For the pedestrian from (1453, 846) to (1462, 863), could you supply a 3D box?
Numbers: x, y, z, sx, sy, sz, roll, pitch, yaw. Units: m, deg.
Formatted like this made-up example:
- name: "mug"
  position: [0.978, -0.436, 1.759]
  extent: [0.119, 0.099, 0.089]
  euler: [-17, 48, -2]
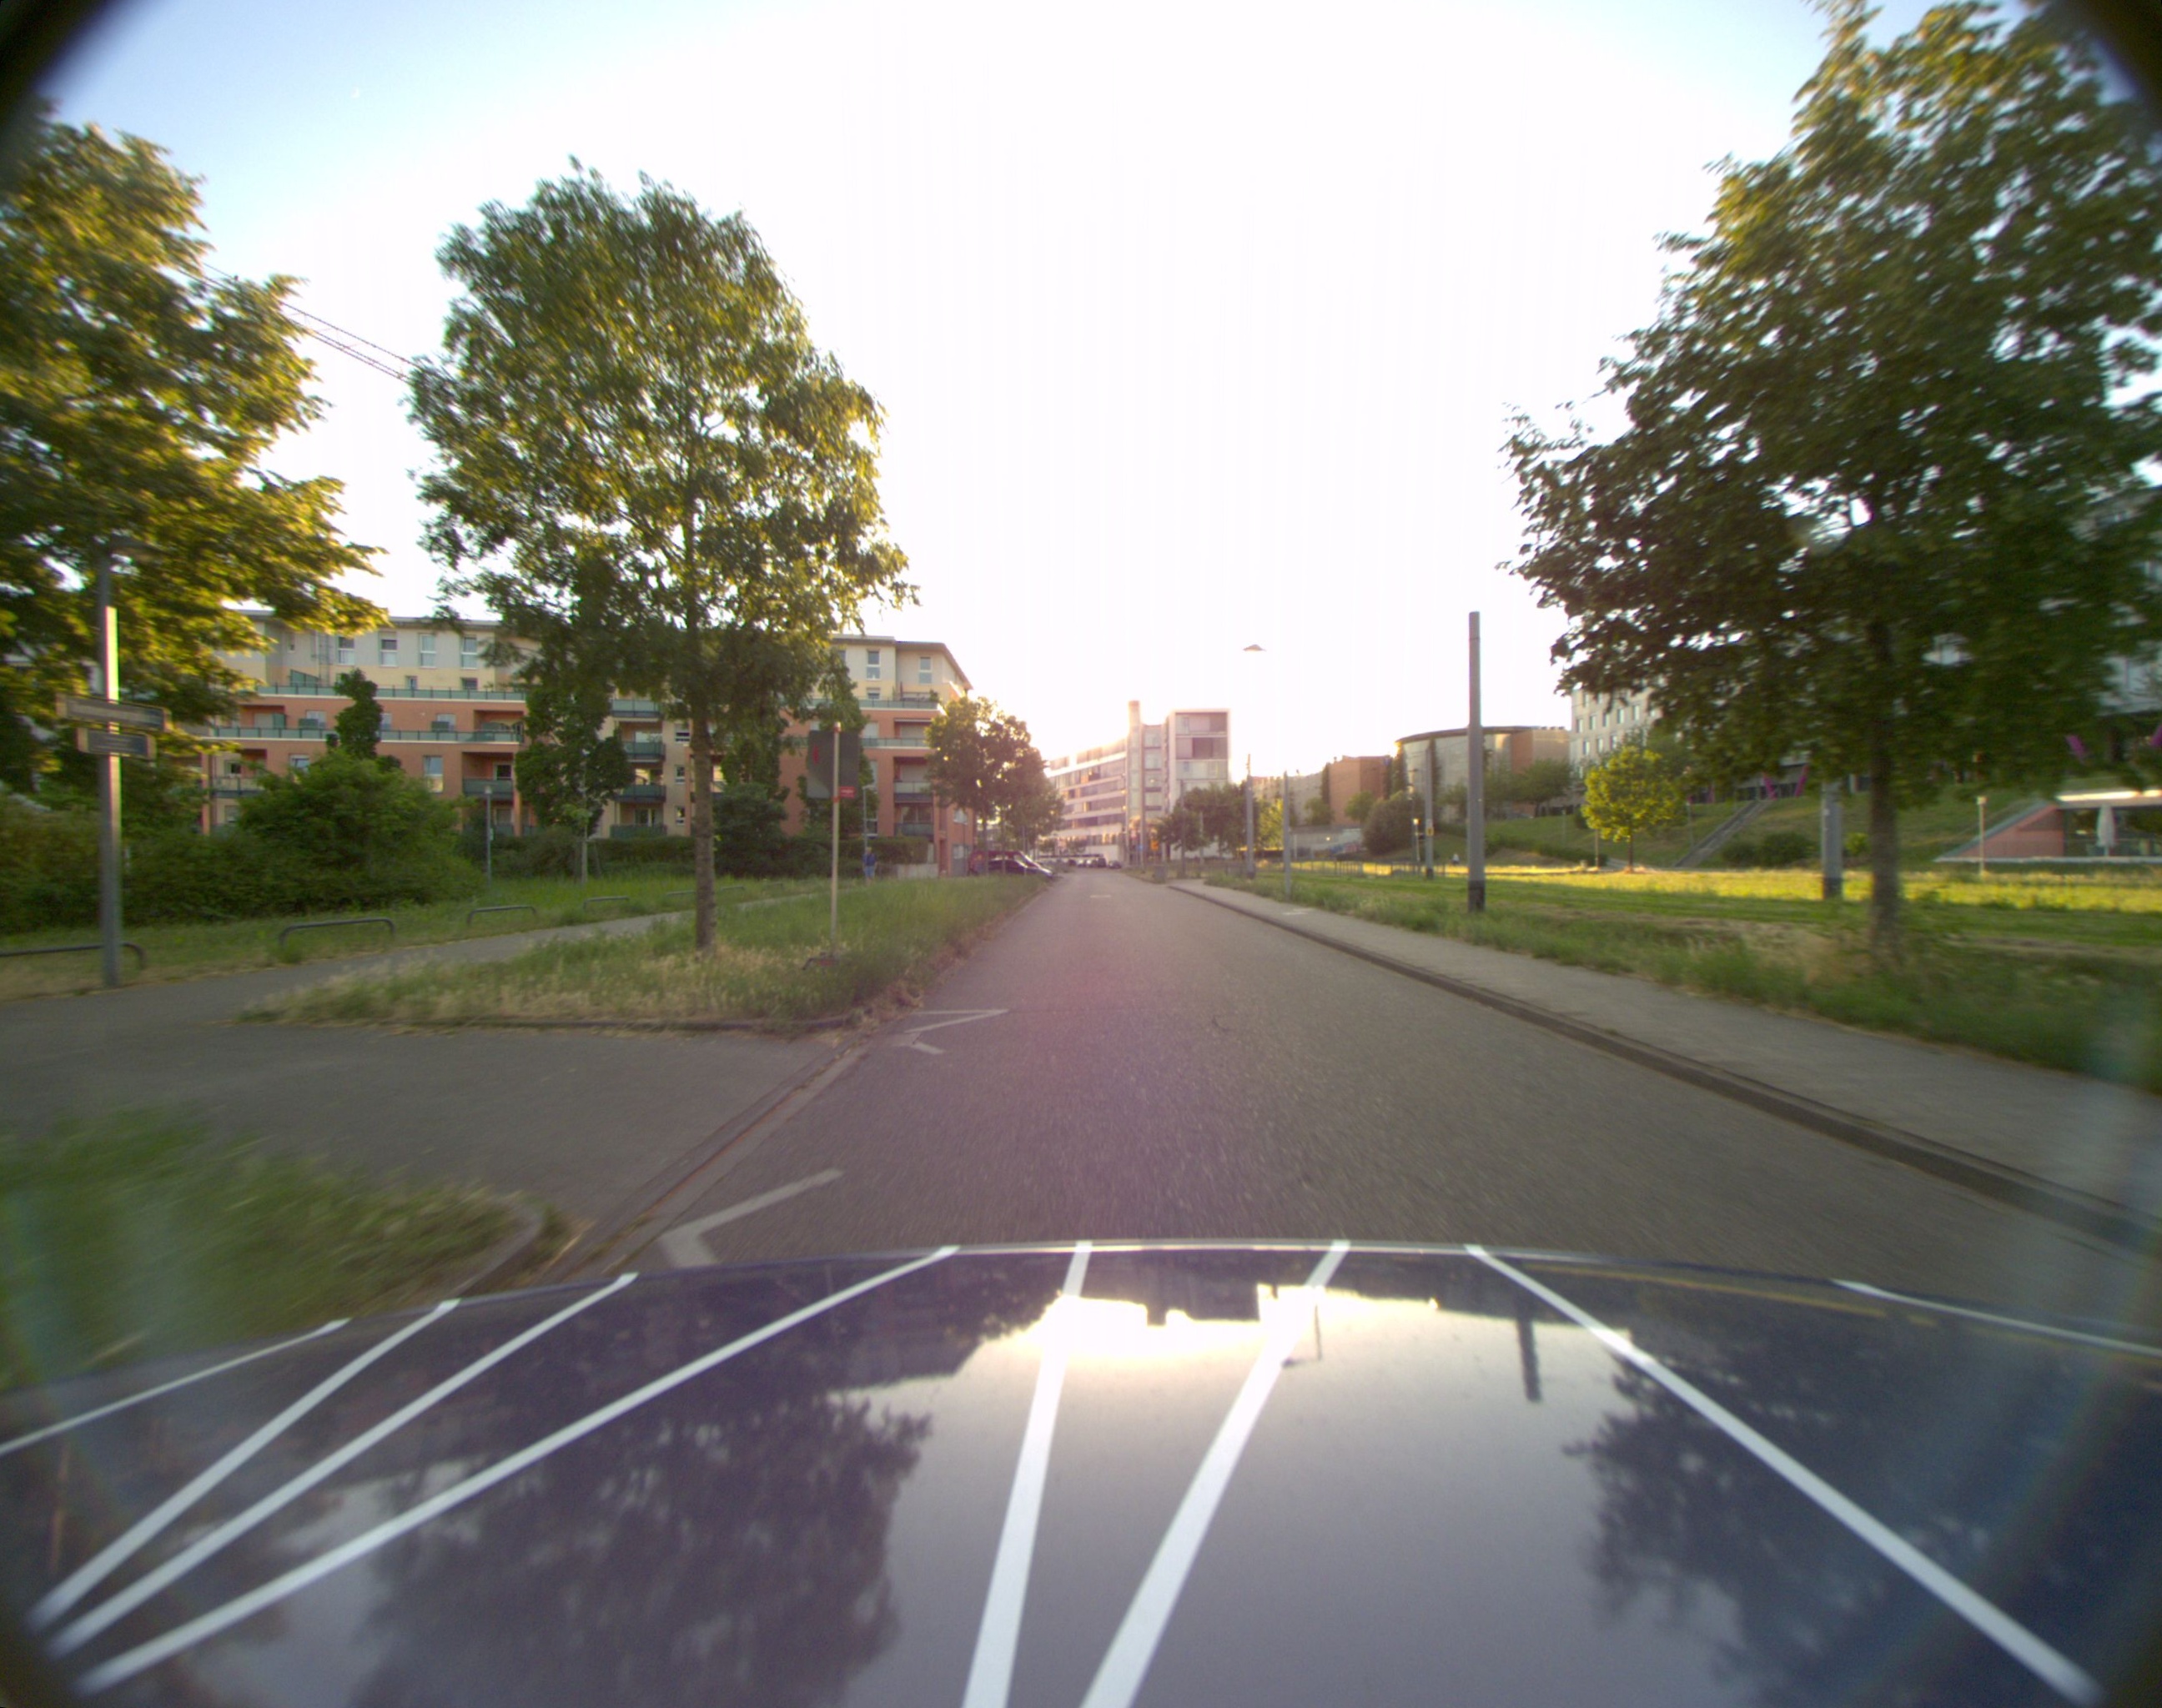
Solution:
- name: "pedestrian"
  position: [43.188, 0.068, 87.179]
  extent: [0.618, 1.826, 0.790]
  euler: [-3, 1, -1]

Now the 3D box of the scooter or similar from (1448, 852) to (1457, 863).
- name: "scooter or similar"
  position: [43.238, 0.412, 88.333]
  extent: [0.618, 1.236, 0.790]
  euler: [-3, 0, -1]

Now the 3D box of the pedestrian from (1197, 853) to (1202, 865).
- name: "pedestrian"
  position: [17.542, 0.757, 112.820]
  extent: [0.450, 1.826, 0.483]
  euler: [-3, 1, -20]

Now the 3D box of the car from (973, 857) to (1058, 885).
- name: "car"
  position: [-3.753, 0.966, 44.075]
  extent: [4.680, 1.547, 1.811]
  euler: [-1, 0, 1]

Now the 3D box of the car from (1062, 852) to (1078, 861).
- name: "car"
  position: [-2.244, 0.482, 153.841]
  extent: [1.799, 1.676, 3.993]
  euler: [-1, 0, -21]

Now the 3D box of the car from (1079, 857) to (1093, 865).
- name: "car"
  position: [0.933, 1.319, 145.807]
  extent: [1.655, 1.468, 3.760]
  euler: [-1, 0, -19]

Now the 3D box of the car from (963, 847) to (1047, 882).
- name: "car"
  position: [-4.630, 0.637, 47.045]
  extent: [4.931, 2.104, 2.017]
  euler: [-1, 0, 2]

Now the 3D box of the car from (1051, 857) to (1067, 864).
- name: "car"
  position: [-4.610, 1.361, 160.218]
  extent: [1.800, 1.542, 3.991]
  euler: [-3, 1, -27]

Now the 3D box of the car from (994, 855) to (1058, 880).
- name: "car"
  position: [-3.710, 0.897, 51.954]
  extent: [4.226, 1.559, 1.792]
  euler: [1, 0, 1]

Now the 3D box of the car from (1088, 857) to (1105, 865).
- name: "car"
  position: [2.820, 1.300, 141.236]
  extent: [1.867, 1.468, 4.514]
  euler: [-3, 0, -16]

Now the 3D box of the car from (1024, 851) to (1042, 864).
- name: "car"
  position: [-10.867, 0.837, 172.817]
  extent: [2.008, 2.858, 6.243]
  euler: [0, -1, -24]

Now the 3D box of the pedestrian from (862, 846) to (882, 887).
- name: "pedestrian"
  position: [-8.989, 0.519, 32.680]
  extent: [0.670, 1.733, 0.699]
  euler: [-1, 0, 0]

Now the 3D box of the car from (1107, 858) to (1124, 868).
- name: "car"
  position: [5.687, 1.458, 125.297]
  extent: [1.858, 1.433, 4.225]
  euler: [-3, 0, -9]

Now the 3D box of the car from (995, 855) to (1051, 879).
- name: "car"
  position: [-3.754, 0.844, 49.702]
  extent: [3.534, 1.456, 1.615]
  euler: [1, 0, 1]

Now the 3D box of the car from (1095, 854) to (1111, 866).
- name: "car"
  position: [3.937, 1.106, 136.421]
  extent: [1.895, 1.961, 4.514]
  euler: [-3, 0, -10]
